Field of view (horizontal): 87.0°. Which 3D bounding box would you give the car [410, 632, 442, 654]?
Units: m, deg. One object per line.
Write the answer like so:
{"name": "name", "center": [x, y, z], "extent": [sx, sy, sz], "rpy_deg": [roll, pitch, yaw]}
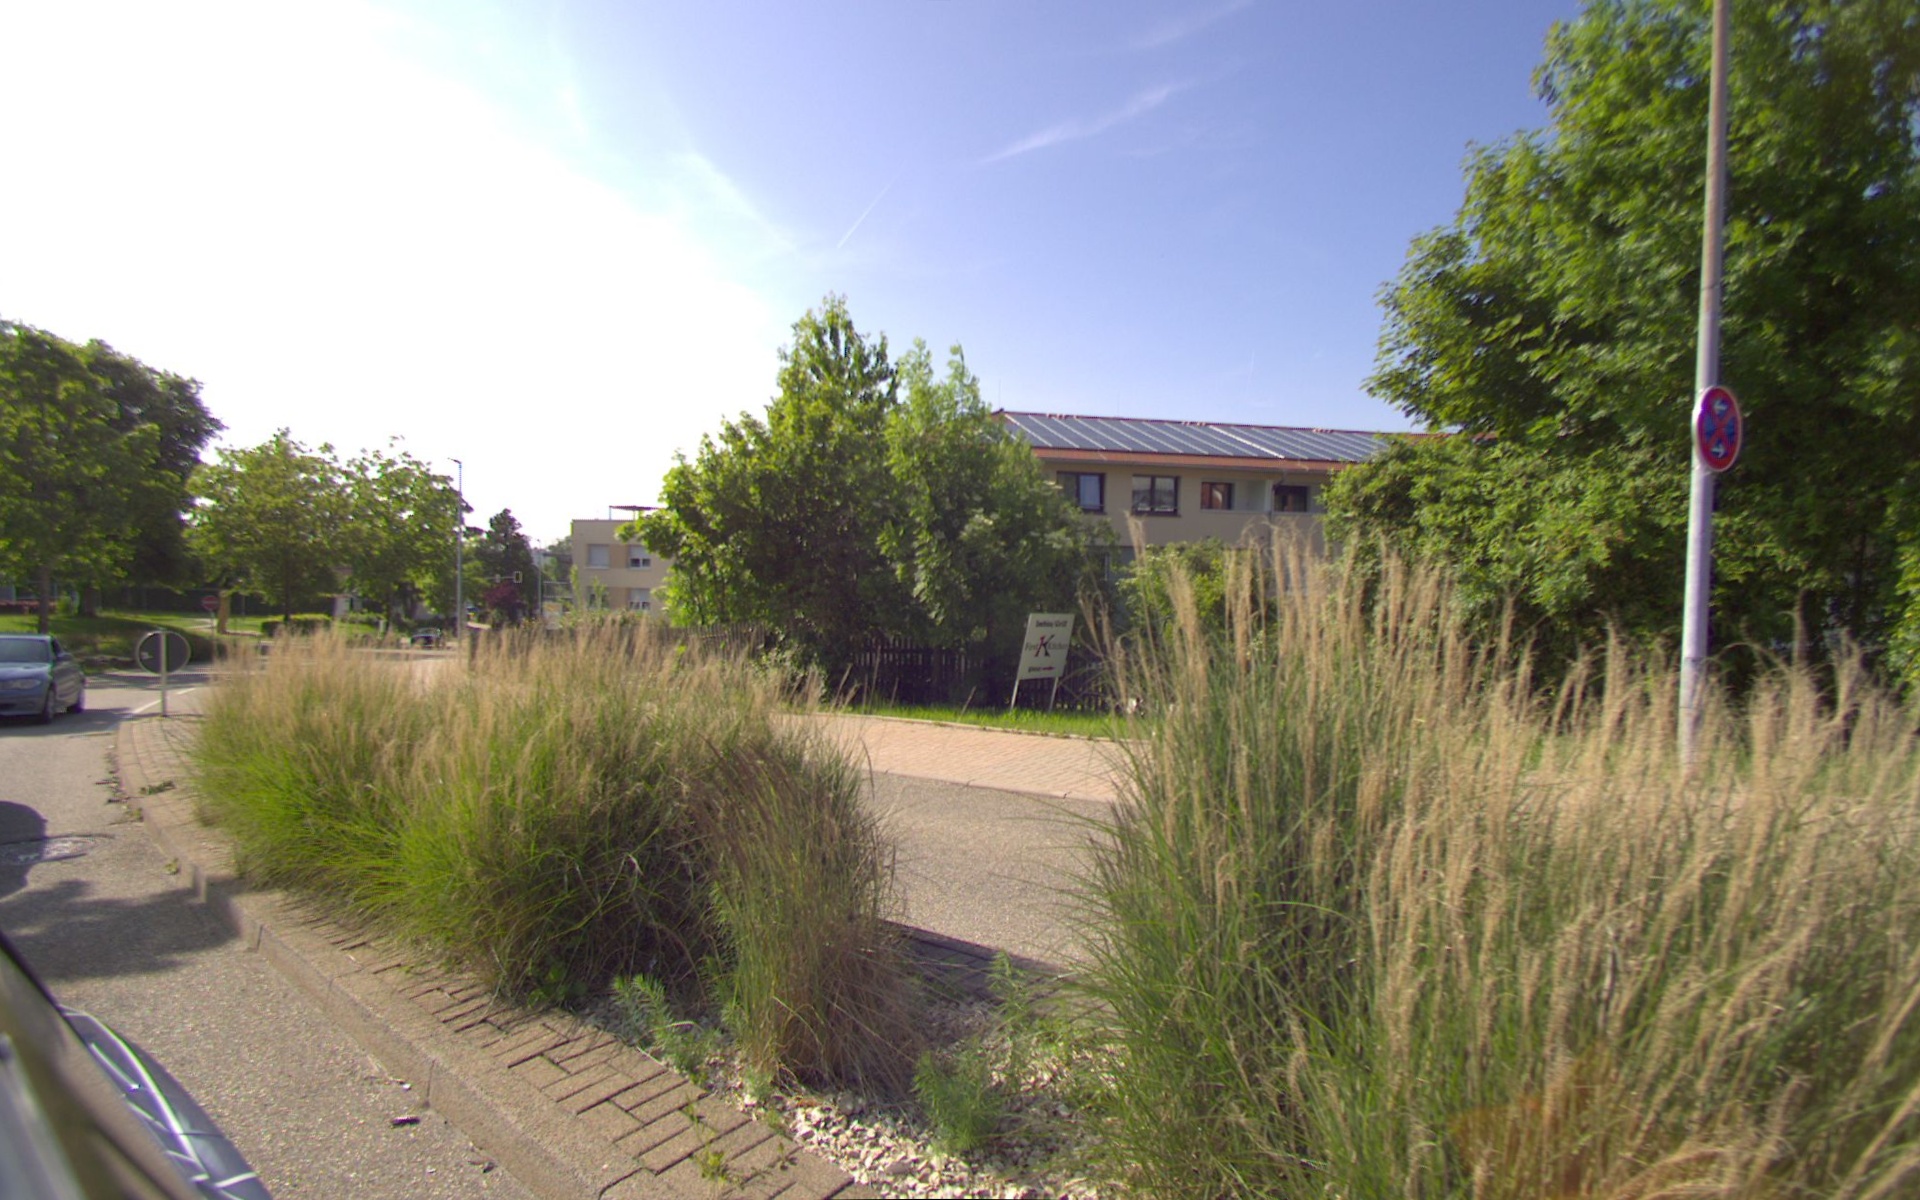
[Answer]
{"name": "car", "center": [-36.370, 2.919, 68.943], "extent": [1.454, 1.375, 2.811], "rpy_deg": [3, -3, -20]}

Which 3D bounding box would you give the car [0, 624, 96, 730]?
{"name": "car", "center": [-15.333, 1.145, 16.080], "extent": [1.872, 1.519, 4.011], "rpy_deg": [3, -3, -33]}

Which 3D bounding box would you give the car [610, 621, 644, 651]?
{"name": "car", "center": [-21.094, 2.251, 63.975], "extent": [1.531, 1.813, 3.466], "rpy_deg": [3, -3, -26]}

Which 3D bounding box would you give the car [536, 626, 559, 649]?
{"name": "car", "center": [-27.159, 2.463, 66.602], "extent": [1.331, 1.408, 3.324], "rpy_deg": [0, -1, -24]}
